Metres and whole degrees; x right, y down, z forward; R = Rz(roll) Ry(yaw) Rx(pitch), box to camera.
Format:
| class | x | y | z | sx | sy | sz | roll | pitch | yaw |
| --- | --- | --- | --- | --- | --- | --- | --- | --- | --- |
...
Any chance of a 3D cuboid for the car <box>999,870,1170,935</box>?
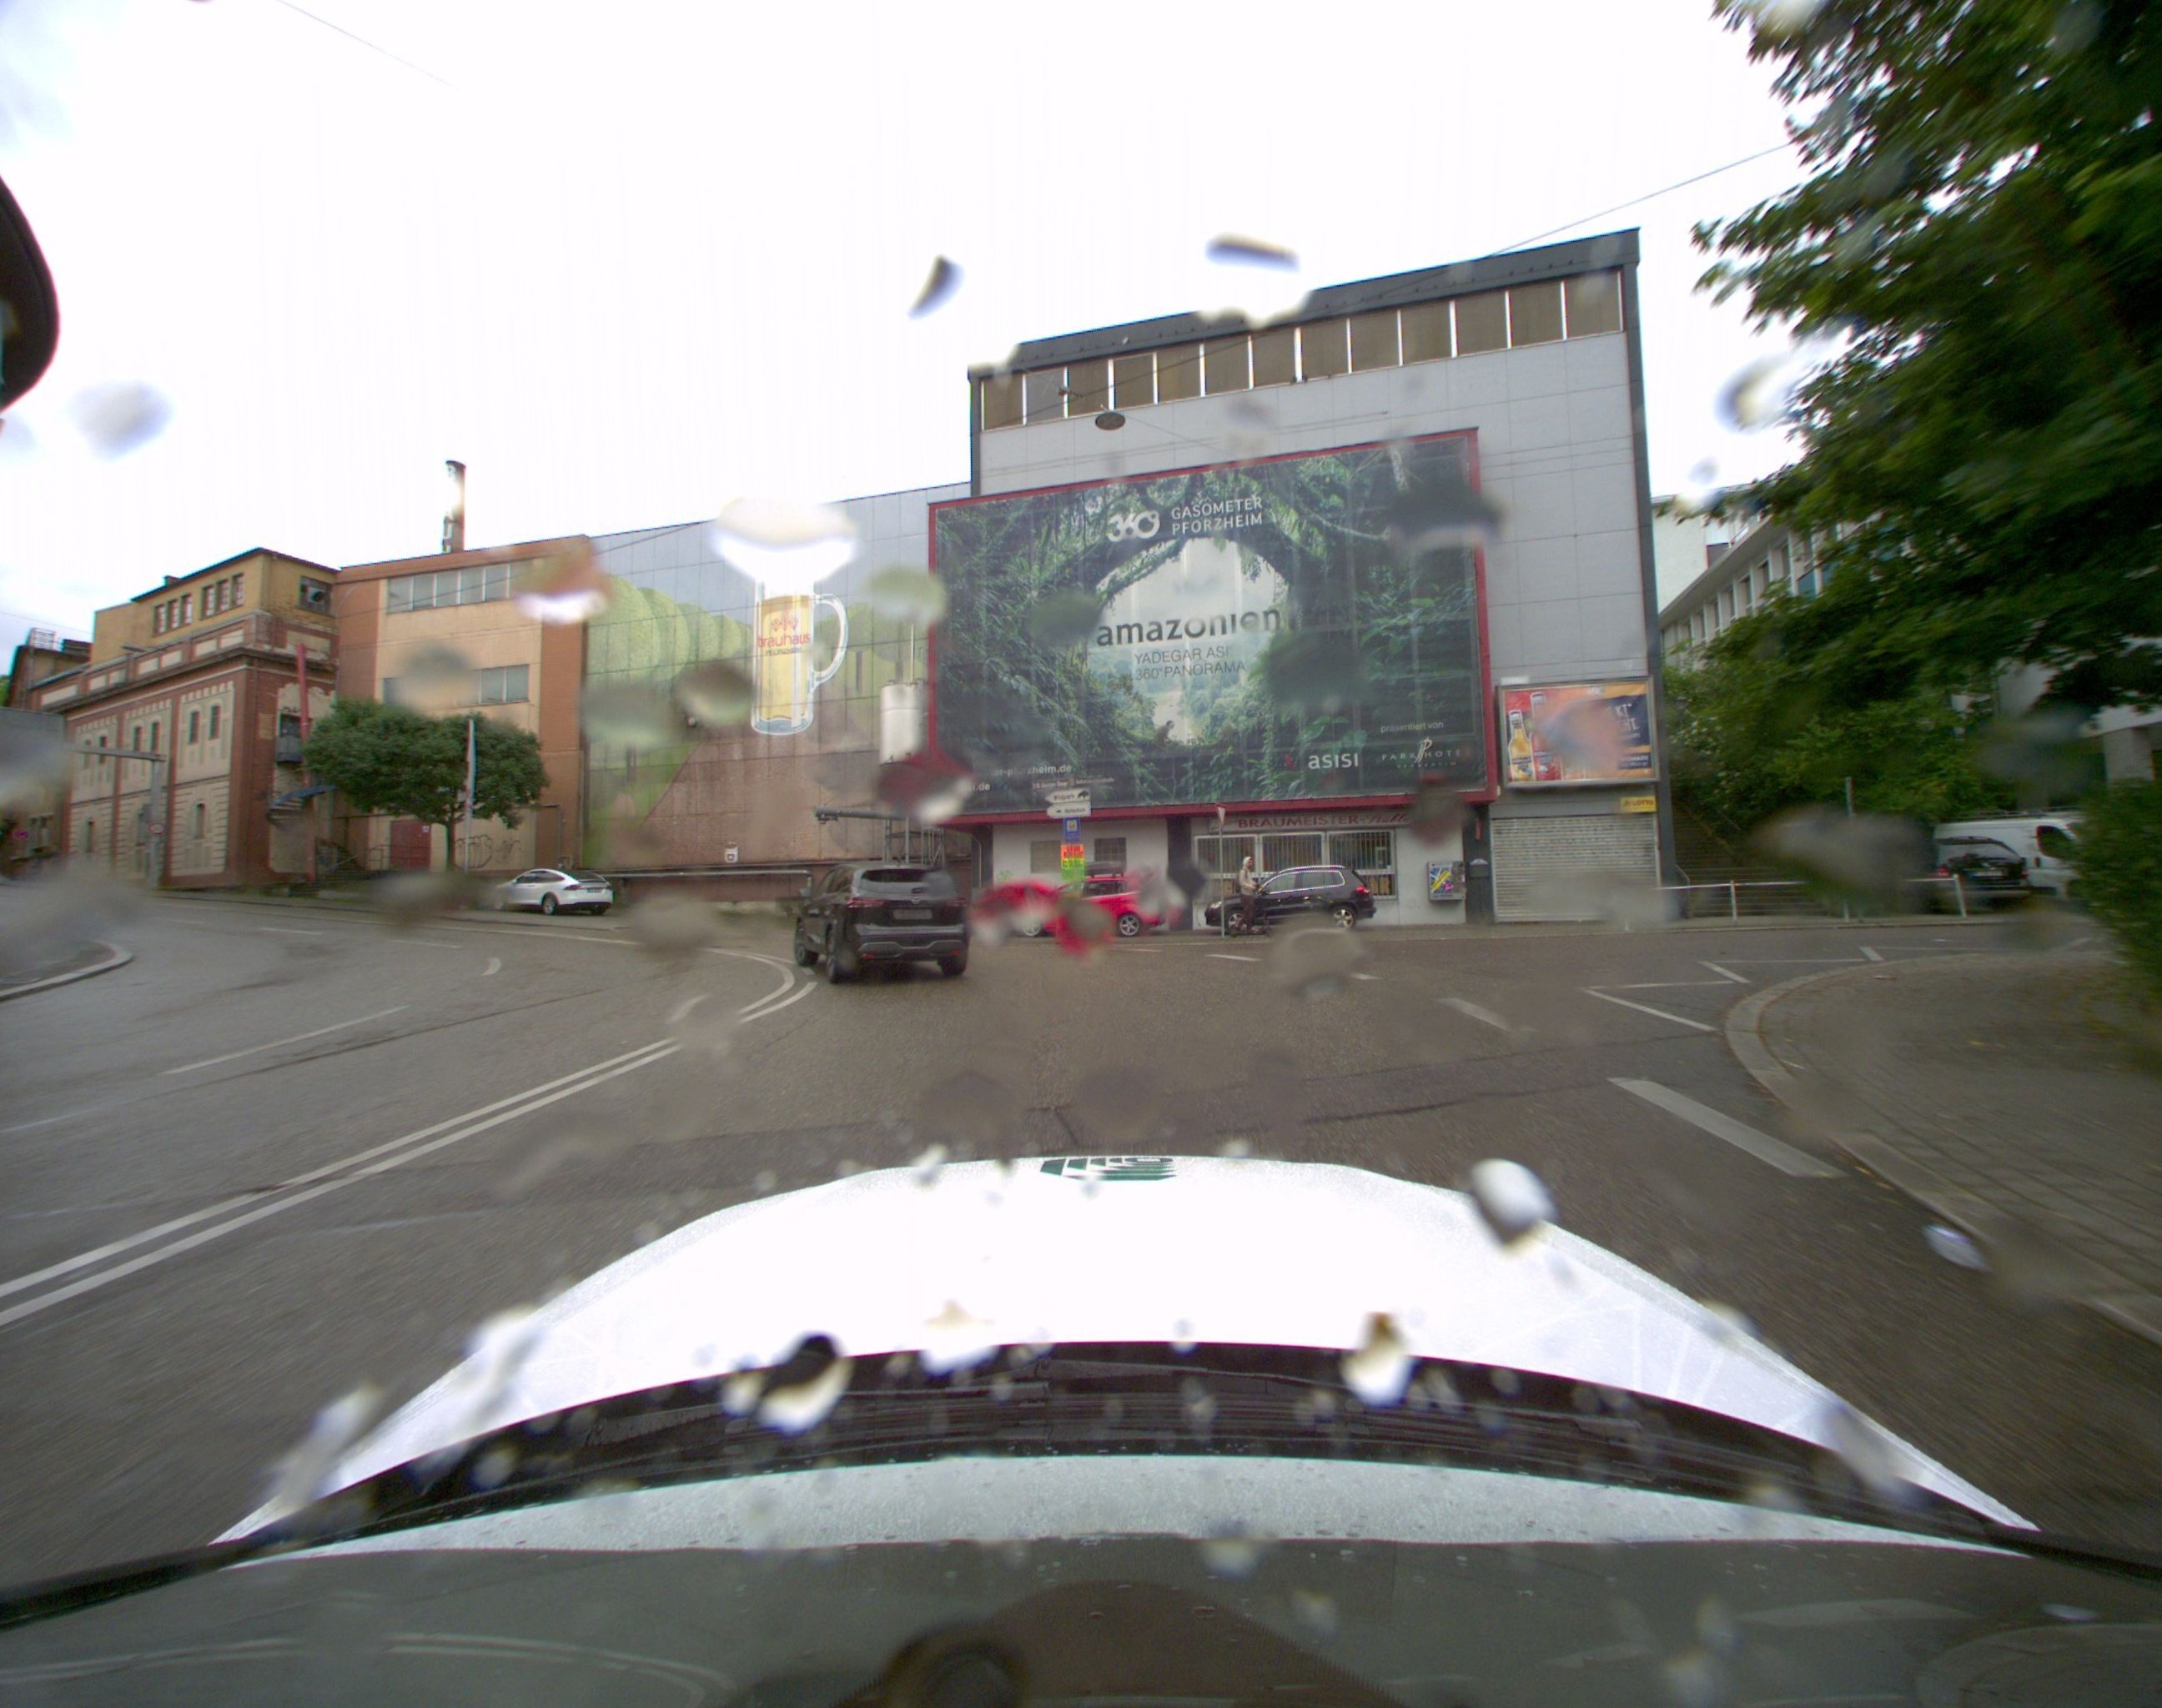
| class | x | y | z | sx | sy | sz | roll | pitch | yaw |
| --- | --- | --- | --- | --- | --- | --- | --- | --- | --- |
| car | 0.136 | 1.375 | 23.049 | 4.444 | 1.712 | 1.940 | -1 | -3 | 14 |

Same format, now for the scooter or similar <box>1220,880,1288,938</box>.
| class | x | y | z | sx | sy | sz | roll | pitch | yaw |
| --- | --- | --- | --- | --- | --- | --- | --- | --- | --- |
| scooter or similar | 4.146 | 1.303 | 19.490 | 1.391 | 1.323 | 0.809 | -2 | -2 | 24 |

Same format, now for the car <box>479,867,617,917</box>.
| class | x | y | z | sx | sy | sz | roll | pitch | yaw |
| --- | --- | --- | --- | --- | --- | --- | --- | --- | --- |
| car | -19.908 | 1.390 | 30.408 | 4.856 | 1.618 | 1.869 | 2 | -2 | 24 |

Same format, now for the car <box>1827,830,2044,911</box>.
| class | x | y | z | sx | sy | sz | roll | pitch | yaw |
| --- | --- | --- | --- | --- | --- | --- | --- | --- | --- |
| car | 20.399 | 0.419 | 19.718 | 1.862 | 1.693 | 4.018 | -3 | -2 | 18 |

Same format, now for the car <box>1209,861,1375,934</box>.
| class | x | y | z | sx | sy | sz | roll | pitch | yaw |
| --- | --- | --- | --- | --- | --- | --- | --- | --- | --- |
| car | 5.492 | 1.134 | 21.353 | 3.958 | 1.712 | 1.940 | -3 | -2 | 14 |

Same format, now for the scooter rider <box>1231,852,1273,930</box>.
| class | x | y | z | sx | sy | sz | roll | pitch | yaw |
| --- | --- | --- | --- | --- | --- | --- | --- | --- | --- |
| scooter rider | 4.105 | 0.878 | 19.521 | 0.772 | 1.821 | 0.809 | -2 | -2 | 24 |

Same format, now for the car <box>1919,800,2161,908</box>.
| class | x | y | z | sx | sy | sz | roll | pitch | yaw |
| --- | --- | --- | --- | --- | --- | --- | --- | --- | --- |
| car | 22.871 | 0.061 | 19.417 | 1.862 | 2.211 | 4.915 | -3 | -2 | 18 |

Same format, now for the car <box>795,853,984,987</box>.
| class | x | y | z | sx | sy | sz | roll | pitch | yaw |
| --- | --- | --- | --- | --- | --- | --- | --- | --- | --- |
| car | -2.988 | 0.867 | 12.073 | 1.891 | 1.594 | 3.887 | -1 | -1 | -26 |

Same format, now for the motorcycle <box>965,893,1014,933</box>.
| class | x | y | z | sx | sy | sz | roll | pitch | yaw |
| --- | --- | --- | --- | --- | --- | --- | --- | --- | --- |
| motorcycle | -2.734 | 1.766 | 24.355 | 1.413 | 1.161 | 0.452 | -1 | -4 | 2 |

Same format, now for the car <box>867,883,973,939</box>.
| class | x | y | z | sx | sy | sz | roll | pitch | yaw |
| --- | --- | --- | --- | --- | --- | --- | --- | --- | --- |
| car | -4.992 | 1.744 | 25.814 | 1.857 | 1.533 | 4.005 | -1 | -1 | 11 |
